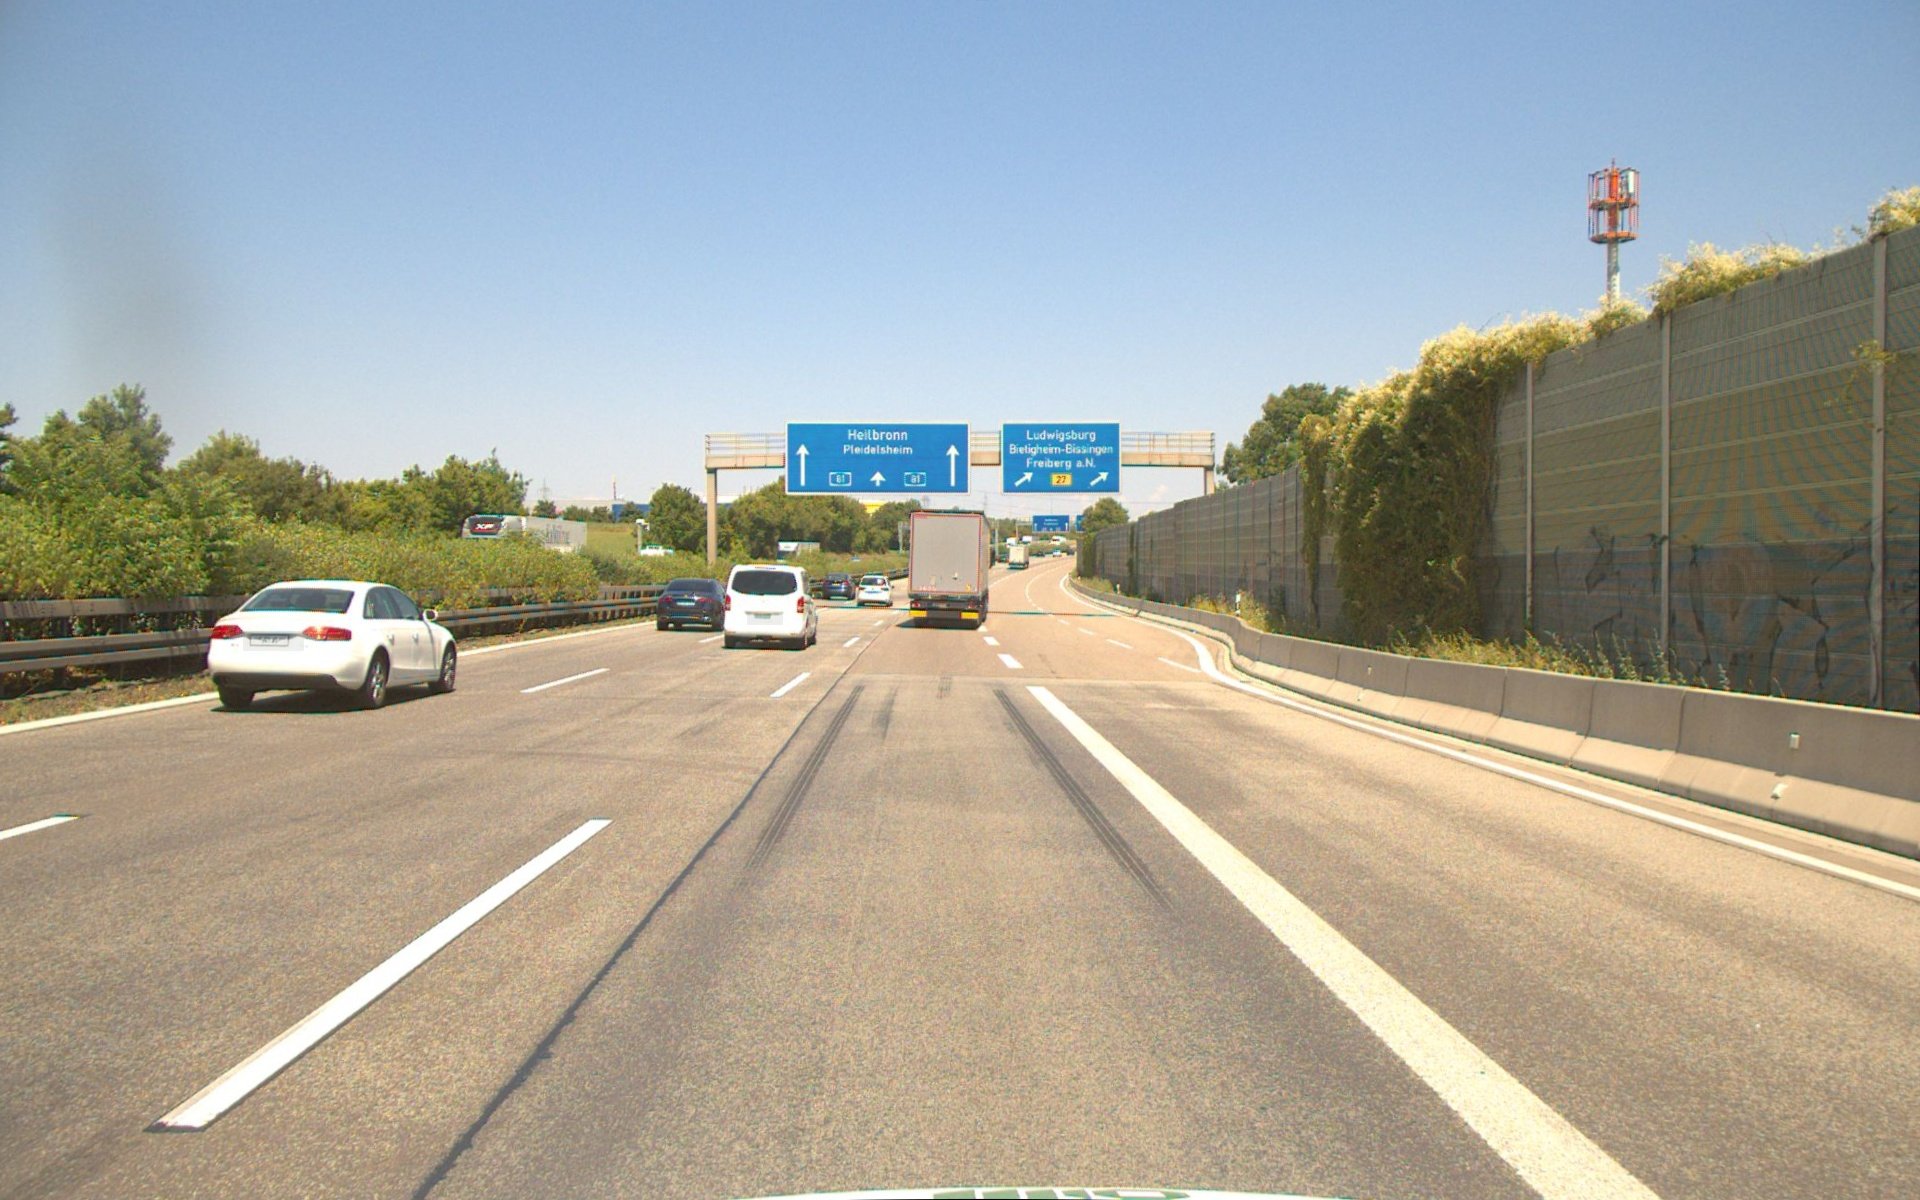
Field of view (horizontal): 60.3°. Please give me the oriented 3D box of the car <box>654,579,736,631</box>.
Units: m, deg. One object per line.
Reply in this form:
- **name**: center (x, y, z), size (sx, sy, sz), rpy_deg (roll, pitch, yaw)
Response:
- **car**: center (-7.694, 0.143, 48.379), size (1.721, 1.433, 5.038), rpy_deg (0, 0, -2)

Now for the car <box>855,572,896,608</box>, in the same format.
- **car**: center (-4.535, -0.514, 89.166), size (1.865, 1.884, 4.631), rpy_deg (0, 0, 1)

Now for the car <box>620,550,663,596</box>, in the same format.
- **car**: center (-19.996, -1.713, 103.977), size (1.953, 2.813, 3.999), rpy_deg (1, 1, -1)

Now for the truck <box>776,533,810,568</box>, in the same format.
- **truck**: center (-20.055, -5.882, 199.314), size (2.940, 4.036, 10.322), rpy_deg (1, 1, 0)

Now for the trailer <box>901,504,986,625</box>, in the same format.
- **trailer**: center (-0.480, -1.221, 61.814), size (2.867, 4.085, 12.039), rpy_deg (0, 0, 1)

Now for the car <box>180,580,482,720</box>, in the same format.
- **car**: center (-7.472, 0.531, 20.273), size (1.838, 1.465, 5.124), rpy_deg (1, 0, -2)

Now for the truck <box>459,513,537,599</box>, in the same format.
- **truck**: center (-23.349, -2.204, 83.779), size (2.551, 4.228, 4.749), rpy_deg (1, 1, 1)

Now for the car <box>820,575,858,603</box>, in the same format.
- **car**: center (-7.494, -0.695, 102.551), size (1.865, 1.718, 4.632), rpy_deg (0, 1, 2)

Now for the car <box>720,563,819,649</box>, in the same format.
- **car**: center (-4.398, 0.125, 38.809), size (1.891, 1.884, 4.691), rpy_deg (0, 0, -2)

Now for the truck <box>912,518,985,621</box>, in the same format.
- **truck**: center (-0.399, -1.241, 69.524), size (2.867, 4.085, 7.584), rpy_deg (0, 0, 1)

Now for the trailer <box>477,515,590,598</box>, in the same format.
- **trailer**: center (-23.345, -2.331, 91.442), size (2.552, 4.205, 14.229), rpy_deg (1, 1, 0)
